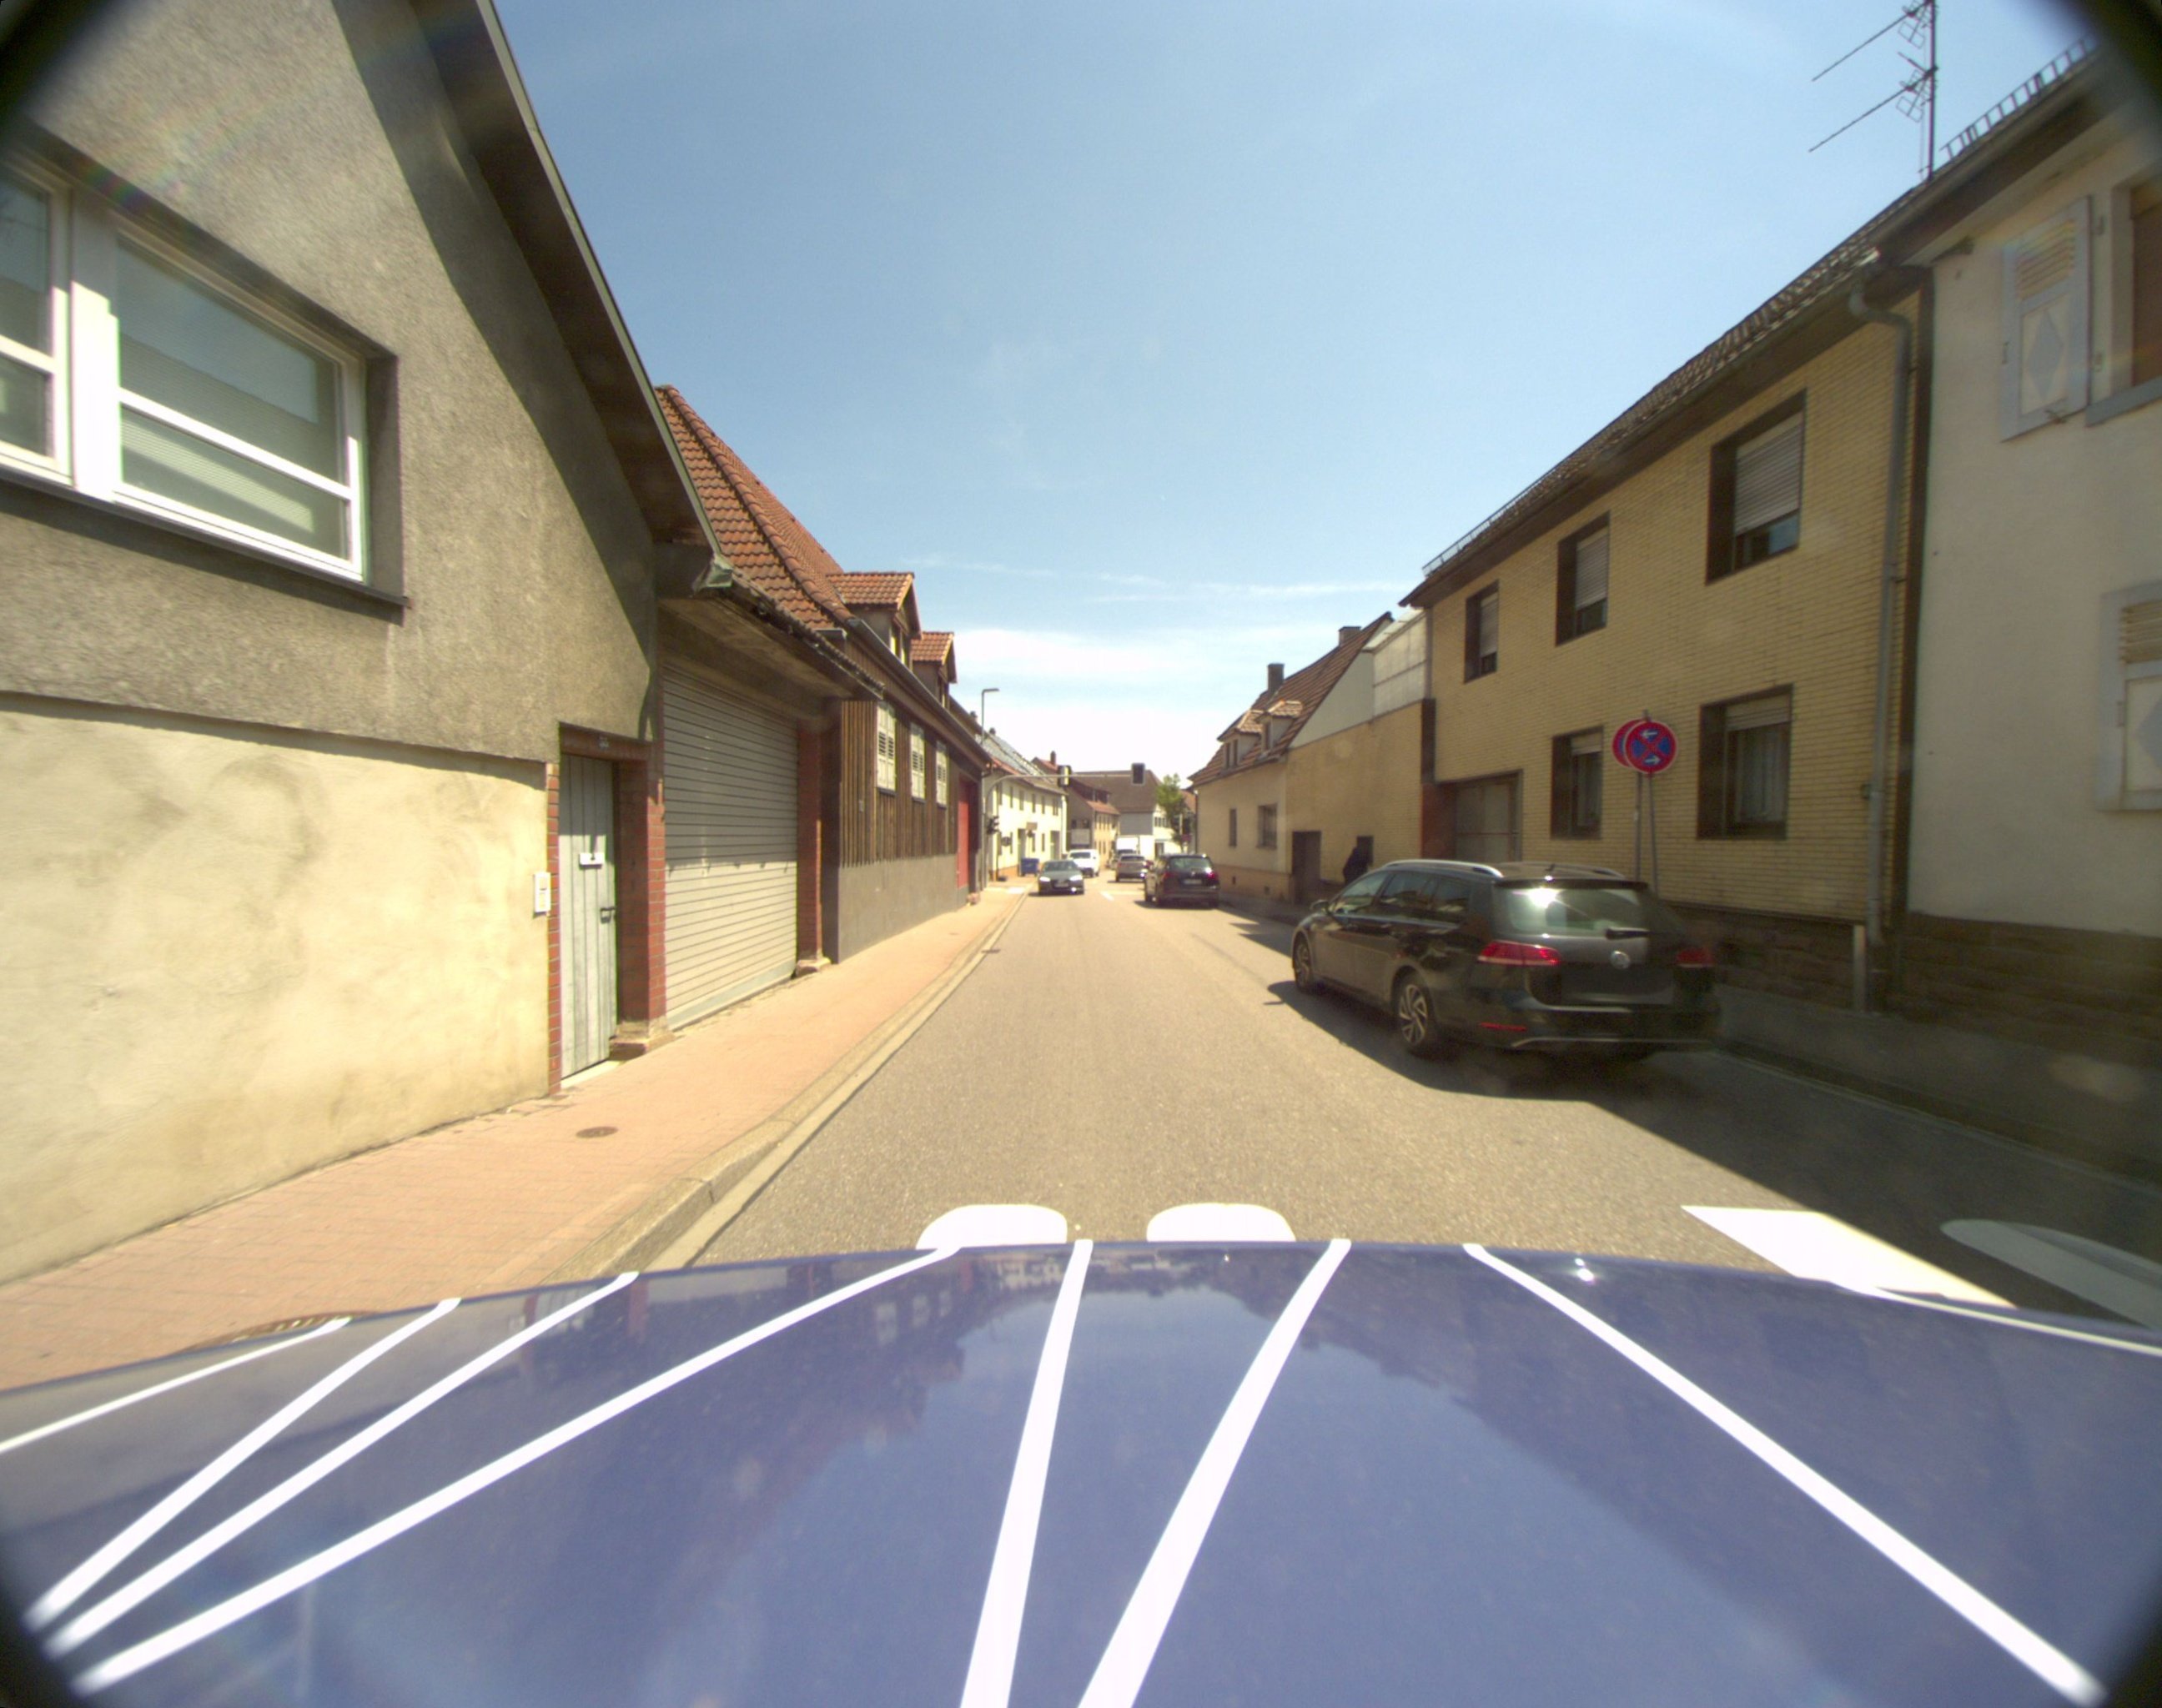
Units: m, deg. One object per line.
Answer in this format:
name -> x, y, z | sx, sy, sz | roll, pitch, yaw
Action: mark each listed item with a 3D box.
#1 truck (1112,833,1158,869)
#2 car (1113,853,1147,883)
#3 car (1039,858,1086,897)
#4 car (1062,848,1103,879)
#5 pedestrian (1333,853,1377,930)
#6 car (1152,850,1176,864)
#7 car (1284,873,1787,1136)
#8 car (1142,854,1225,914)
truck -> 5.662, -0.379, 78.308 | 2.863, 3.492, 8.329 | 2, 2, 17
car -> 2.770, 0.750, 43.414 | 1.833, 1.612, 4.261 | 1, 0, 2
car -> -0.711, 0.902, 30.495 | 1.786, 1.365, 3.605 | 0, 1, -1
car -> 0.193, 0.589, 52.852 | 2.077, 1.949, 5.521 | 0, 1, 8
pedestrian -> 5.759, 0.776, 16.001 | 0.663, 1.555, 0.755 | -1, 2, 0
car -> 9.788, 0.366, 89.350 | 1.865, 1.521, 4.005 | -1, 1, 21
car -> 3.237, 0.943, 6.562 | 1.699, 1.401, 4.199 | 1, 0, -2
car -> 3.046, 0.844, 23.393 | 1.816, 1.600, 4.336 | 1, 0, -1
